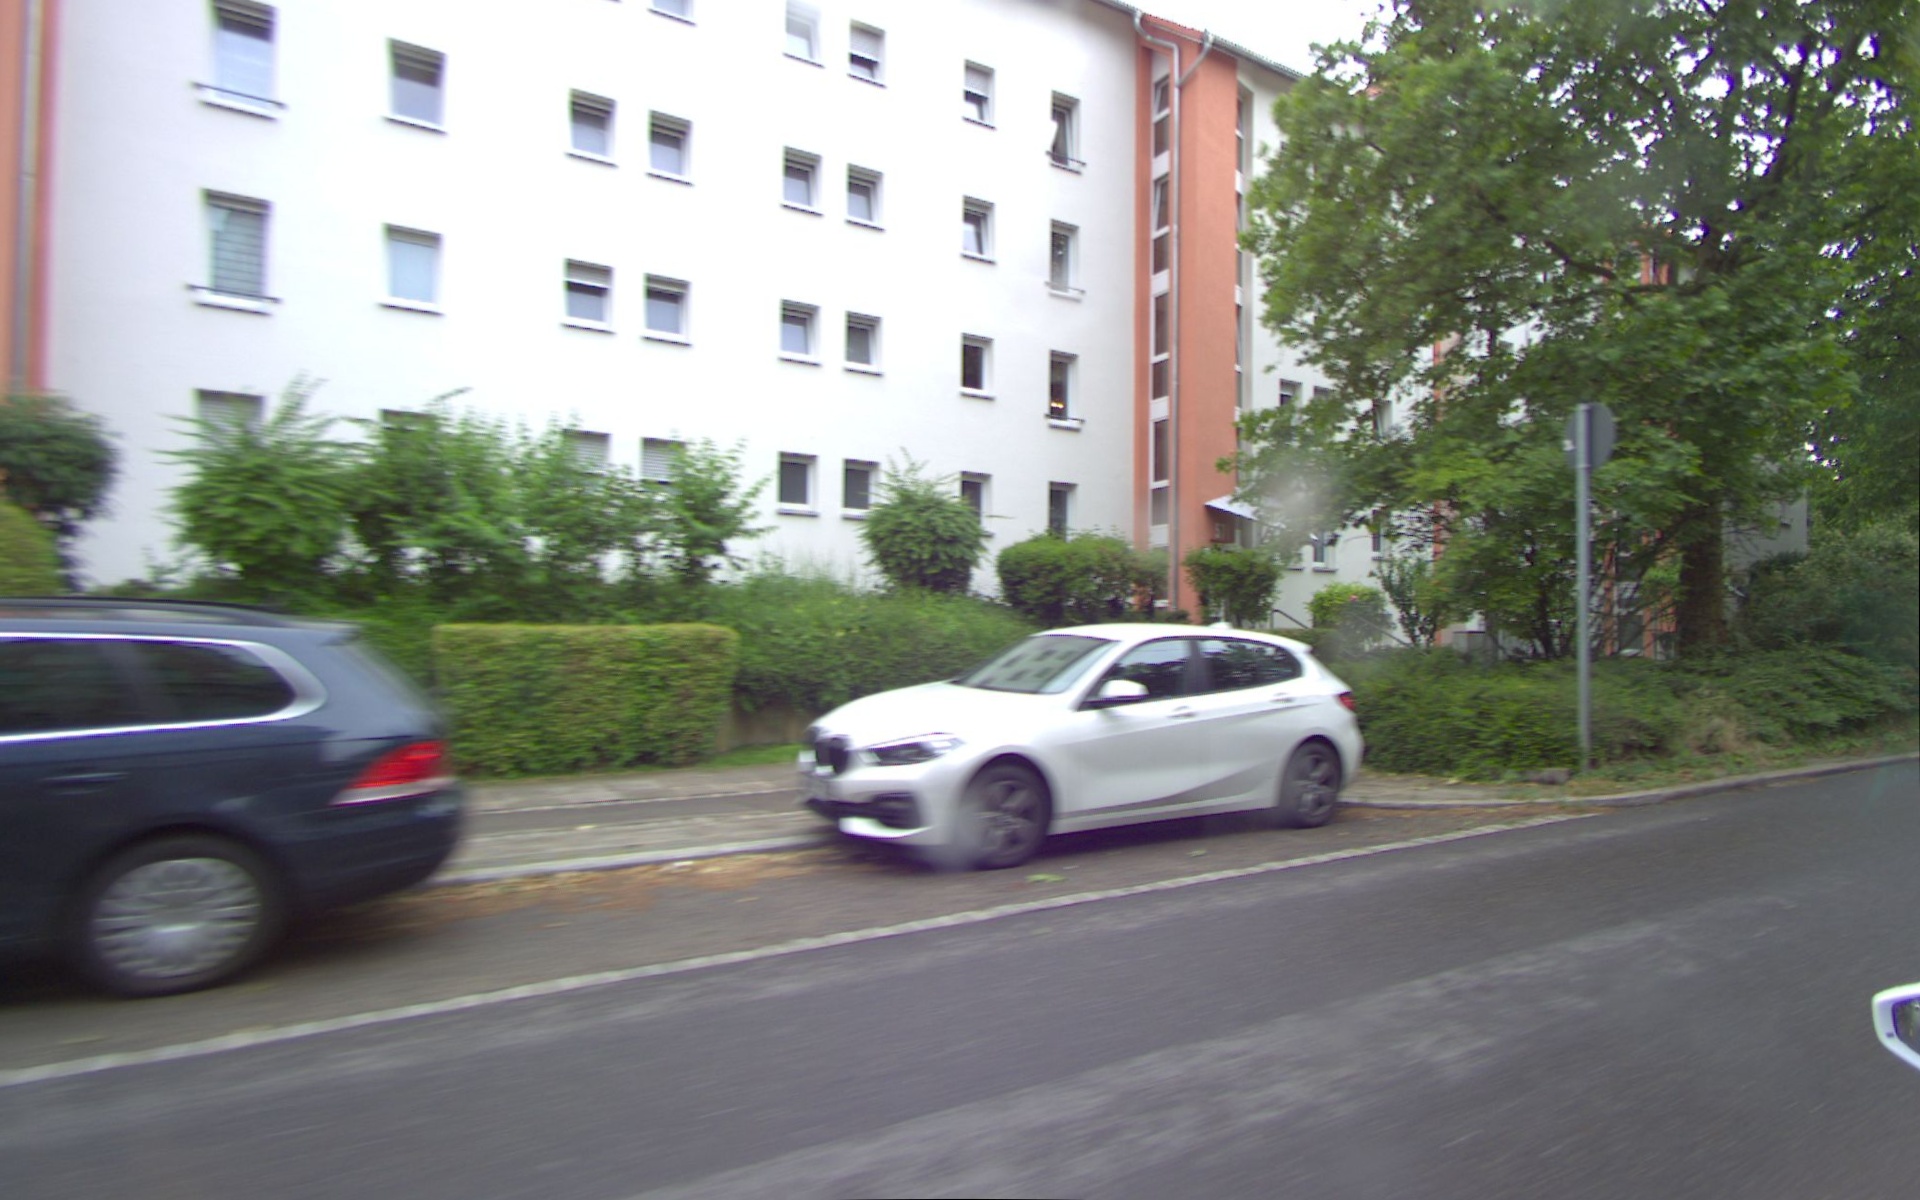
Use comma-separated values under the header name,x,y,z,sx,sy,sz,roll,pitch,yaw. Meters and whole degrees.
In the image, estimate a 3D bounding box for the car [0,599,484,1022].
name,x,y,z,sx,sy,sz,roll,pitch,yaw
car,-4.286,0.733,3.971,4.186,1.487,1.708,1,-1,-32

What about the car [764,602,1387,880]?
name,x,y,z,sx,sy,sz,roll,pitch,yaw
car,0.913,0.857,7.212,4.258,1.486,1.710,1,-4,-30
